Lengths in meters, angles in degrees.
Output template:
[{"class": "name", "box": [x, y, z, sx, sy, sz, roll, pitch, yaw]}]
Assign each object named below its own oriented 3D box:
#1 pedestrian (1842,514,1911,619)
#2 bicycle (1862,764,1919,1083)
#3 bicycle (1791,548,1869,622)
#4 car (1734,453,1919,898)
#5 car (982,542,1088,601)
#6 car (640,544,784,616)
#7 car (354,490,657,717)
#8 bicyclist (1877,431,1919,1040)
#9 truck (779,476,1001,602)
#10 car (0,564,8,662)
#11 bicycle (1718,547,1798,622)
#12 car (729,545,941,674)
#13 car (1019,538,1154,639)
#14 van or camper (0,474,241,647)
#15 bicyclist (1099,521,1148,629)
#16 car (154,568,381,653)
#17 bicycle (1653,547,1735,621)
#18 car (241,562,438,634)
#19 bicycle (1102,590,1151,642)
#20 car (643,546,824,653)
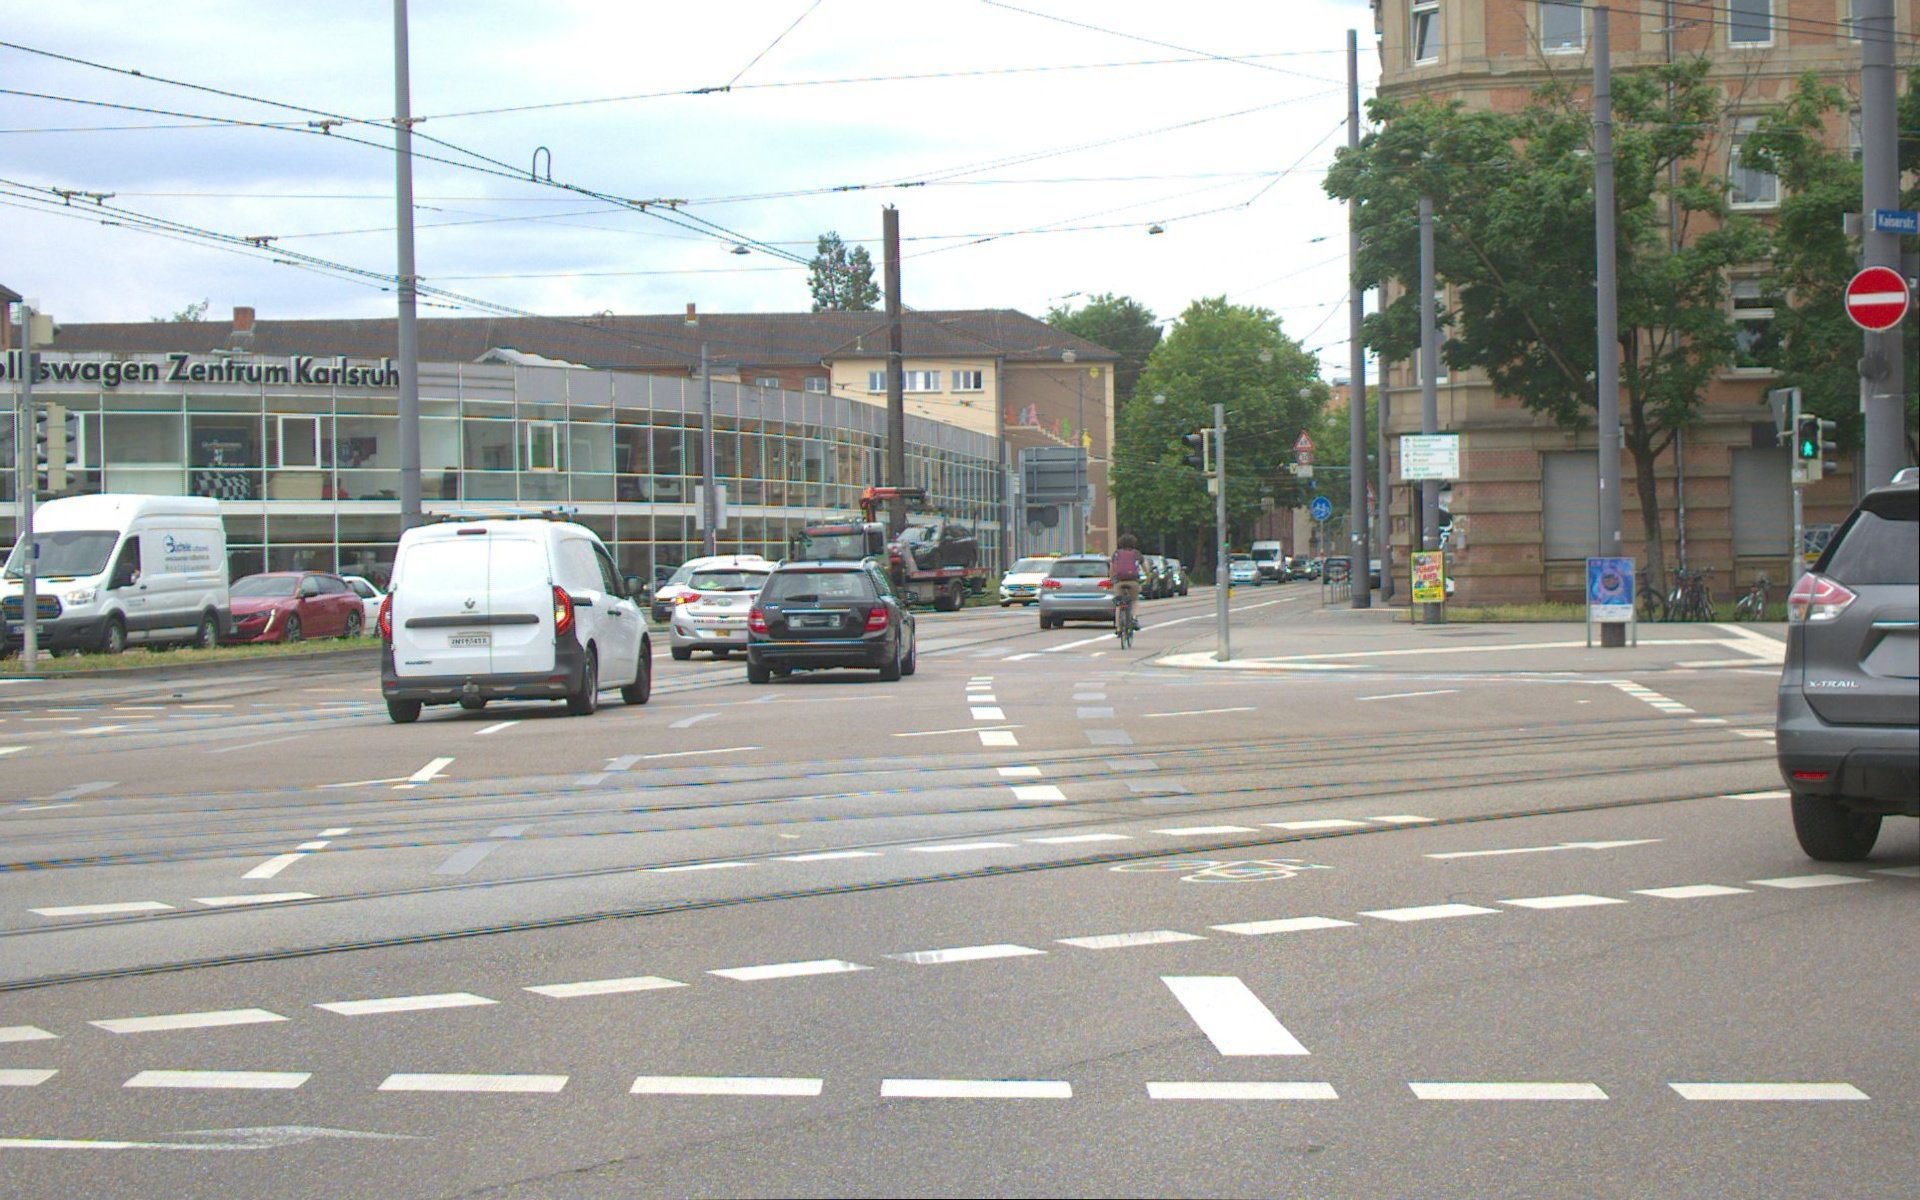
[{"class": "pedestrian", "box": [15.187, -0.555, 56.966, 0.909, 1.722, 0.603, -1, 1, -10]}, {"class": "bicycle", "box": [2.999, 0.892, 8.721, 0.556, 0.845, 2.074, -1, 1, -10]}, {"class": "bicycle", "box": [16.189, -0.282, 63.905, 0.959, 1.349, 3.117, 0, 0, 22]}, {"class": "car", "box": [4.942, 0.260, 15.115, 1.753, 1.750, 3.916, 0, 1, 33]}, {"class": "car", "box": [2.449, -0.934, 110.963, 1.996, 1.832, 4.518, 0, 1, 21]}, {"class": "car", "box": [-6.465, -0.546, 90.123, 1.996, 1.832, 4.518, 0, 1, 21]}, {"class": "car", "box": [-4.095, 0.003, 31.645, 1.913, 1.933, 4.130, -1, 1, 5]}, {"class": "bicyclist", "box": [3.022, 0.358, 8.759, 0.827, 1.615, 1.322, -1, 0, -10]}, {"class": "truck", "box": [-1.942, -1.739, 101.053, 2.797, 3.537, 9.211, 0, 0, 24]}, {"class": "car", "box": [-15.169, 0.229, 47.744, 1.994, 1.415, 4.660, -1, 1, 9]}, {"class": "bicycle", "box": [14.928, -0.291, 64.266, 0.959, 1.349, 3.117, 0, 0, 22]}, {"class": "car", "box": [-1.406, 0.082, 40.299, 1.994, 1.415, 3.999, -1, 1, 5]}, {"class": "car", "box": [2.637, -0.248, 70.702, 1.995, 2.007, 3.997, 0, 0, 14]}, {"class": "van or camper", "box": [-13.813, -0.619, 55.141, 2.416, 2.602, 6.049, 0, 0, 9]}, {"class": "bicyclist", "box": [2.596, -0.397, 54.644, 0.687, 1.702, 0.798, -1, 0, -2]}, {"class": "car", "box": [-12.398, 0.165, 61.853, 1.995, 1.415, 4.798, -1, 1, 16]}, {"class": "bicycle", "box": [13.813, -0.298, 64.602, 0.959, 1.349, 3.117, 0, 0, 22]}, {"class": "car", "box": [-12.897, -0.057, 71.739, 1.995, 1.415, 4.746, -1, 1, 19]}, {"class": "bicycle", "box": [2.643, 0.247, 54.688, 0.619, 0.791, 1.592, -1, 1, -2]}, {"class": "car", "box": [-3.297, -0.013, 50.701, 1.853, 1.503, 3.999, 0, 0, 8]}]
